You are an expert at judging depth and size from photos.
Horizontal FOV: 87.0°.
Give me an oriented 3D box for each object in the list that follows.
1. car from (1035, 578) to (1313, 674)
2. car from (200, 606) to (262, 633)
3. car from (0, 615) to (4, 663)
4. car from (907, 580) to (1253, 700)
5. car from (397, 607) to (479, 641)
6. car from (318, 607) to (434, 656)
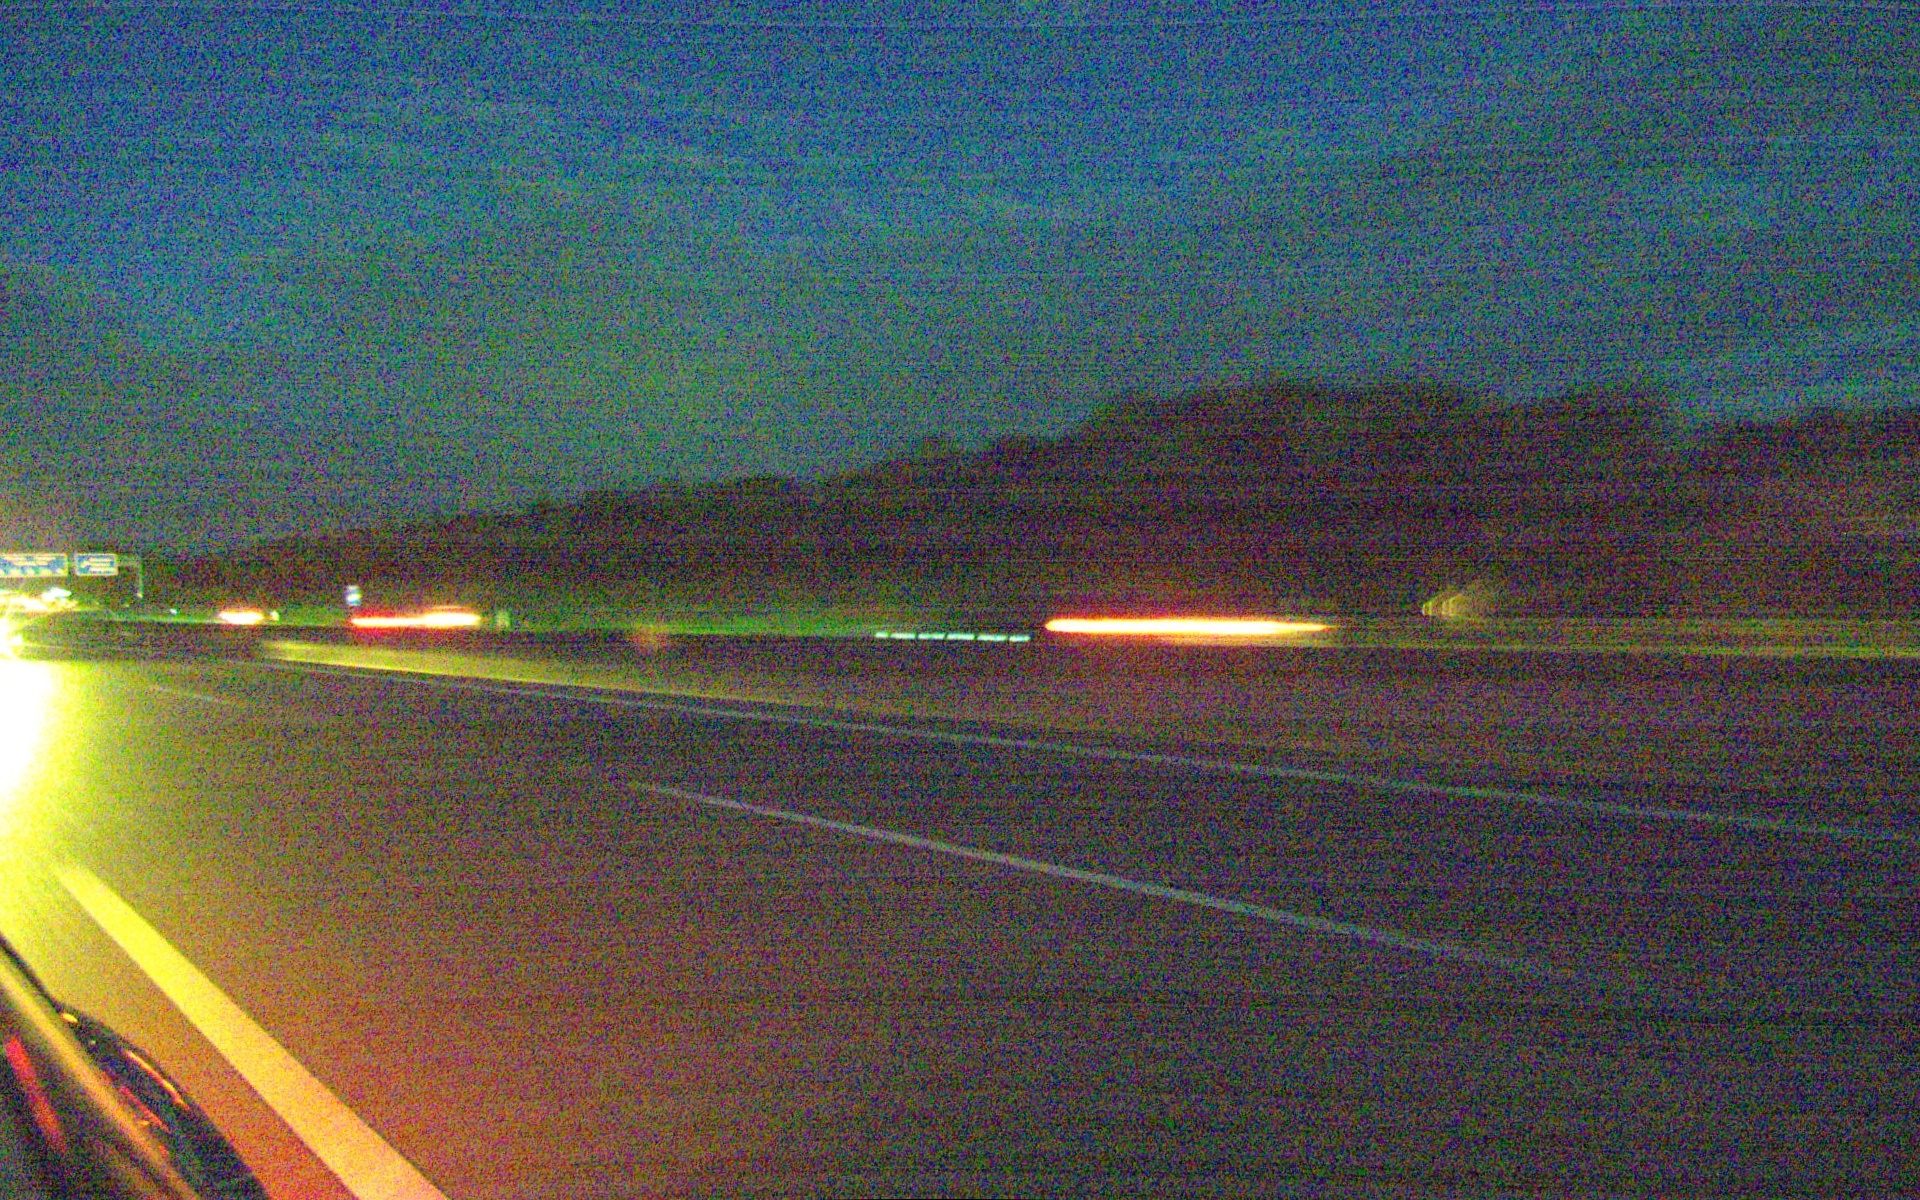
[{"bbox_3d":[4.212,0.483,20.447,5.104,1.710,2.097,-1,0,40],"label":"car"},{"bbox_3d":[-50.107,1.352,69.485,5.622,1.734,2.097,-1,0,40],"label":"car"},{"bbox_3d":[-33.632,1.334,33.681,5.645,1.530,1.974,-2,0,40],"label":"car"},{"bbox_3d":[1.881,0.611,17.297,5.622,1.734,2.097,-1,0,40],"label":"car"},{"bbox_3d":[-28.419,1.276,55.033,5.187,1.734,2.097,-1,0,40],"label":"car"},{"bbox_3d":[-22.695,1.198,39.231,5.622,1.734,2.097,-1,0,40],"label":"car"}]
